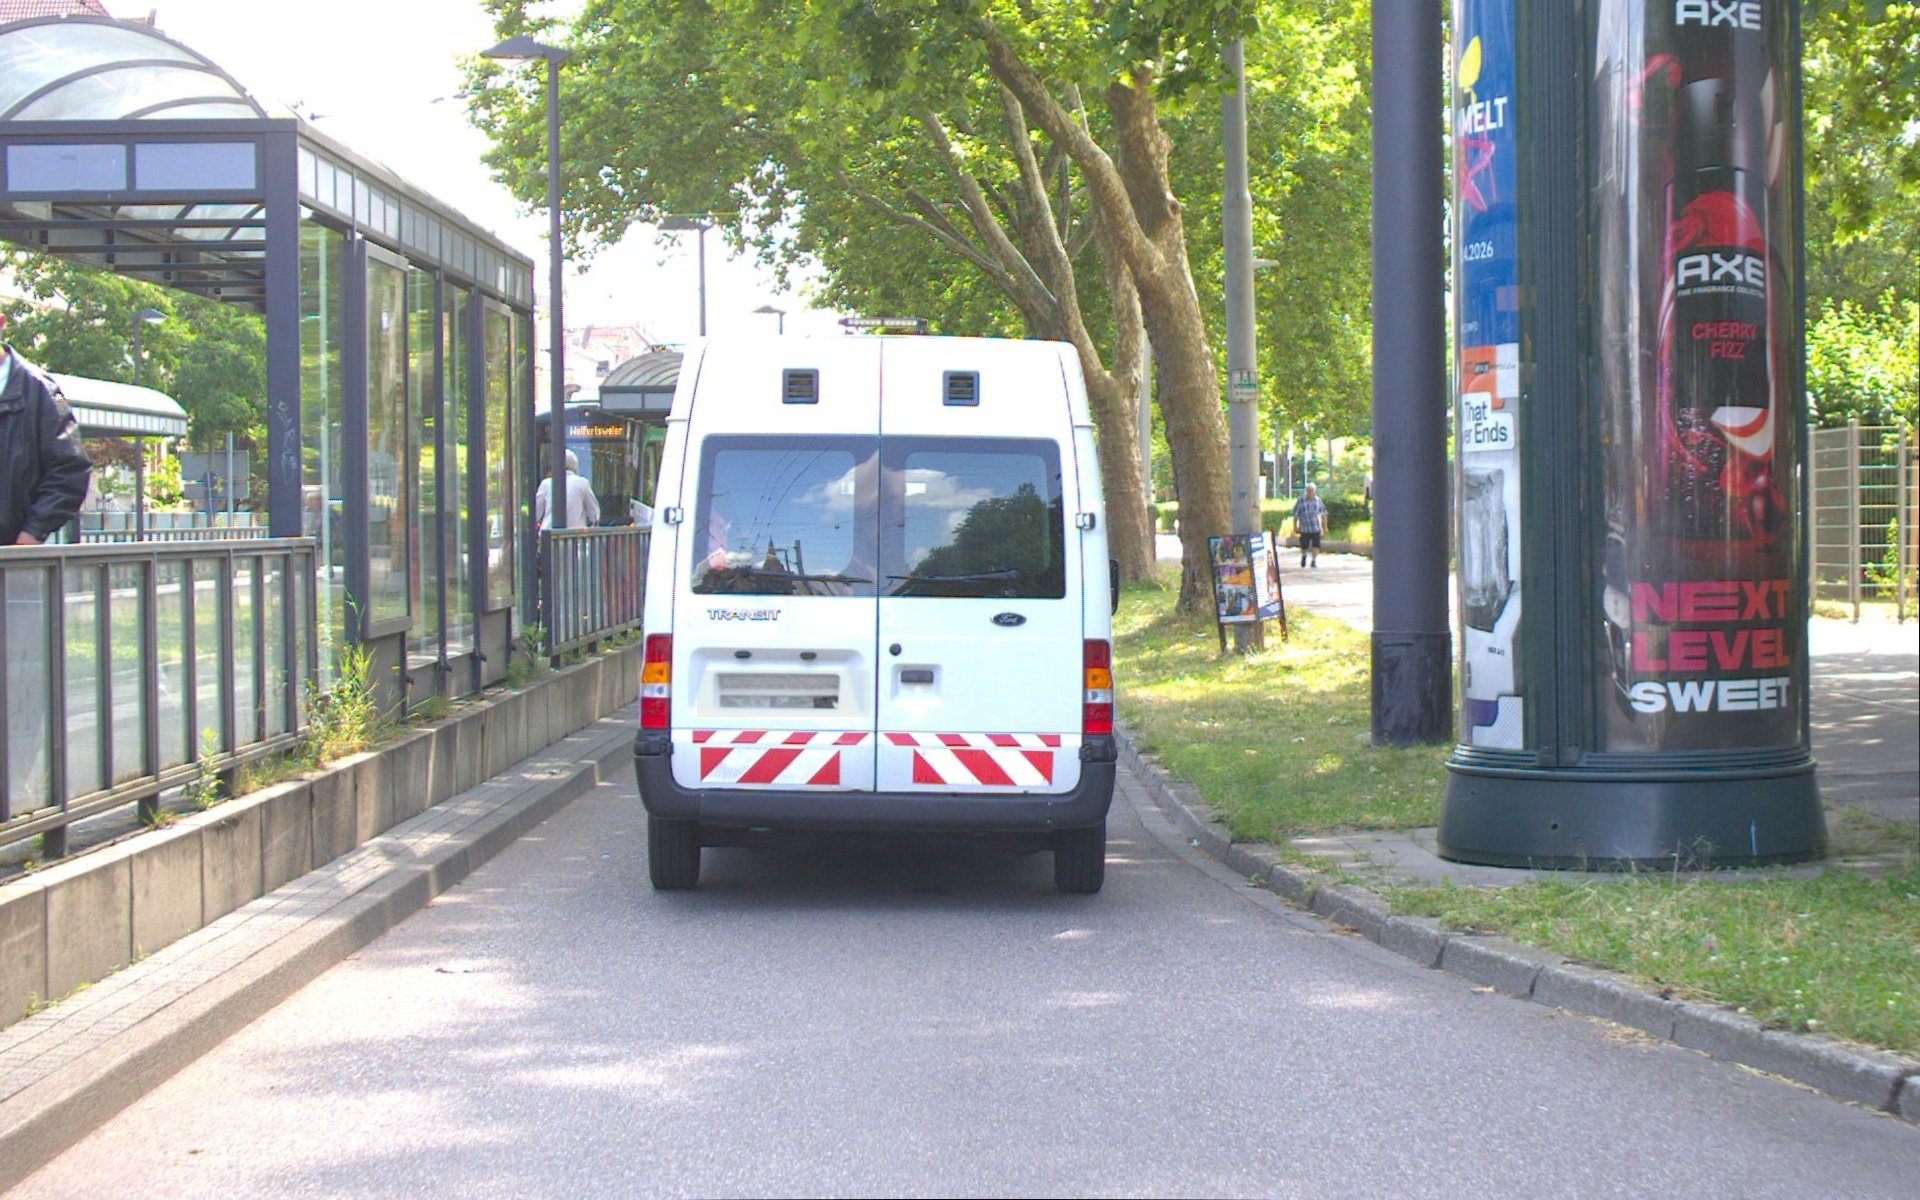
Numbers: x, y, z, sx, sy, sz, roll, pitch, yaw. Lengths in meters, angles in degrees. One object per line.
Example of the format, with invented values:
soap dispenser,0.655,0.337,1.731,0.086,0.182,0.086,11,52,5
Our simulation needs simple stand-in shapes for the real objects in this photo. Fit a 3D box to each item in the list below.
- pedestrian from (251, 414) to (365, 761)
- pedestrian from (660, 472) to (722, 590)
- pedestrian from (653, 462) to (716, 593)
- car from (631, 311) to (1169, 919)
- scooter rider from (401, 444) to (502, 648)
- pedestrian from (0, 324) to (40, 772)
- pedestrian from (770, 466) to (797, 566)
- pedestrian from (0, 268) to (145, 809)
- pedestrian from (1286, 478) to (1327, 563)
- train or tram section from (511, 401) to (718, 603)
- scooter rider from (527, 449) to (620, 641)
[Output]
pedestrian,-3.625,-0.079,19.105,0.470,1.894,0.537,-2,2,-24
pedestrian,-3.230,-0.833,41.270,0.676,1.398,0.596,-1,2,-1
pedestrian,-3.223,-0.854,40.247,0.676,1.510,0.596,-1,2,-1
car,-0.245,-0.017,15.682,2.047,2.325,4.715,-1,2,0
scooter rider,-4.097,-0.443,27.757,0.654,1.608,0.901,-1,2,0
pedestrian,-4.290,-0.200,13.595,0.886,1.794,1.495,-1,2,-1
pedestrian,-2.827,-1.353,55.222,0.385,1.586,0.439,-1,1,-1
pedestrian,-3.474,-0.222,12.385,0.810,1.866,1.031,-1,1,-1
pedestrian,6.734,-1.546,66.847,0.693,1.620,0.637,-1,2,0
train or tram section,-6.600,-1.915,67.584,2.723,3.571,13.017,0,2,0
scooter rider,-3.224,-0.466,28.712,0.654,1.565,0.901,-1,2,0
